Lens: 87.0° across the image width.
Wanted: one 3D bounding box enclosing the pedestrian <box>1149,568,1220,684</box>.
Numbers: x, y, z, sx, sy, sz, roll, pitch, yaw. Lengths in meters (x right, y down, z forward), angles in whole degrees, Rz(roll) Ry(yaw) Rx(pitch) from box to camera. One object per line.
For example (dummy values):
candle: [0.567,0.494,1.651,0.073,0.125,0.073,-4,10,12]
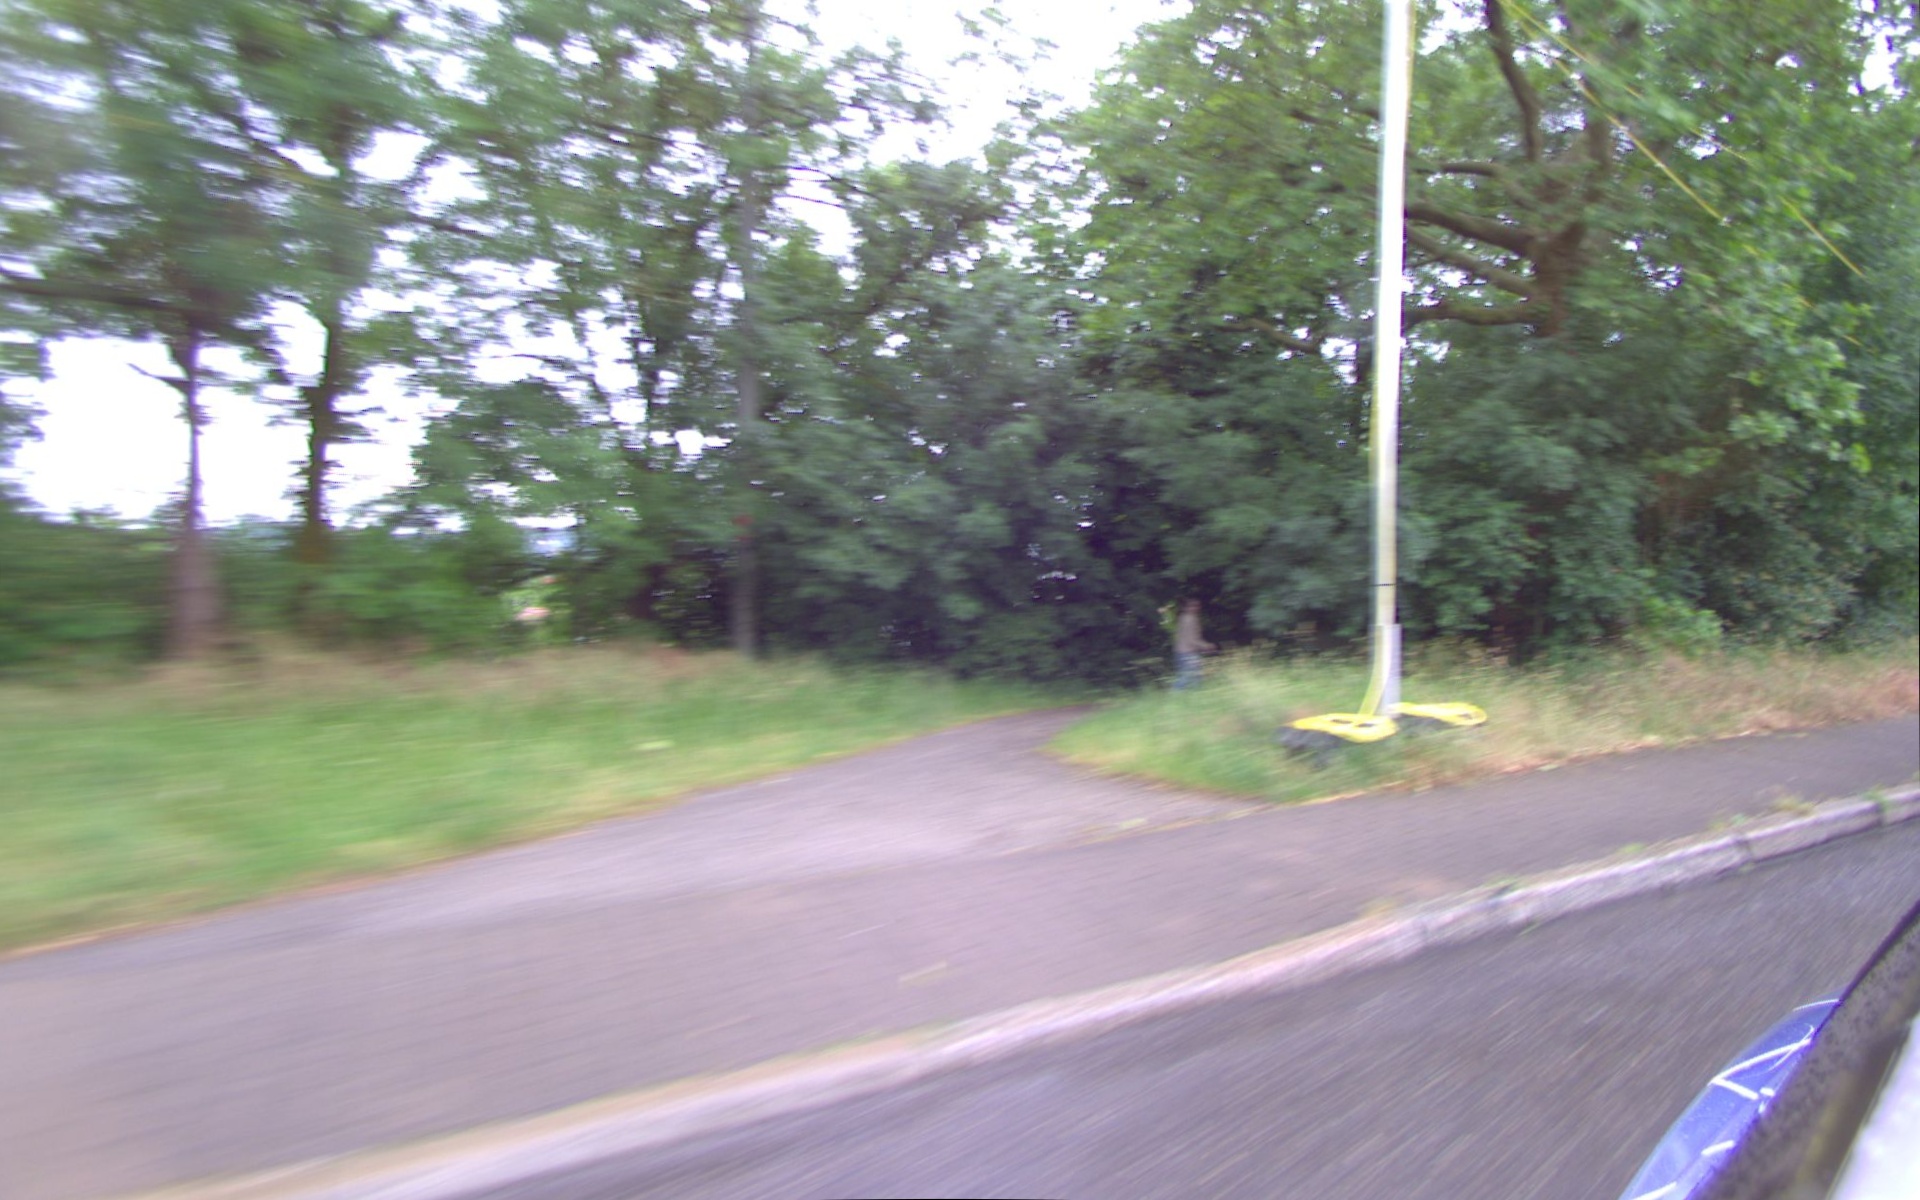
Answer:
pedestrian: [3.276,0.355,14.747,0.729,1.624,0.741,0,0,42]
